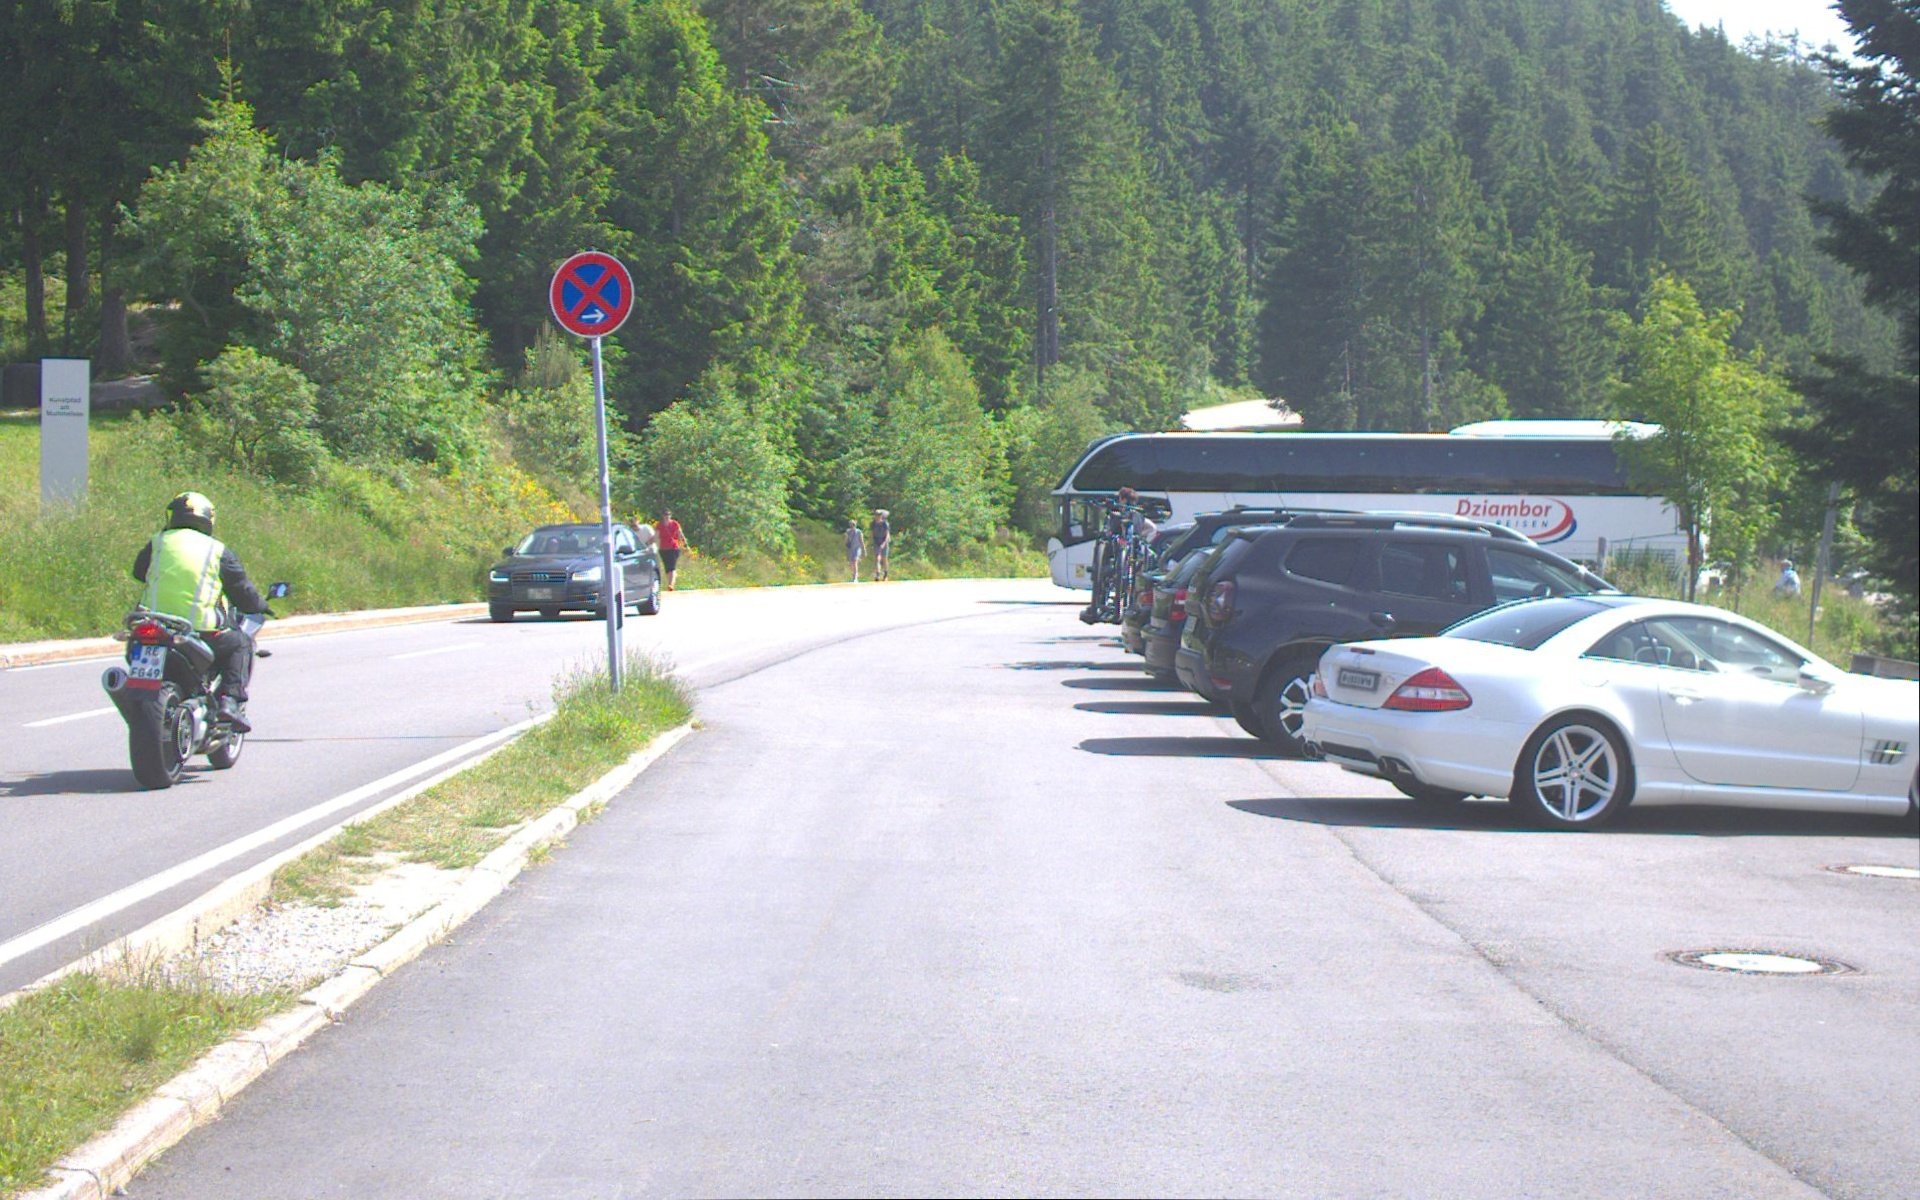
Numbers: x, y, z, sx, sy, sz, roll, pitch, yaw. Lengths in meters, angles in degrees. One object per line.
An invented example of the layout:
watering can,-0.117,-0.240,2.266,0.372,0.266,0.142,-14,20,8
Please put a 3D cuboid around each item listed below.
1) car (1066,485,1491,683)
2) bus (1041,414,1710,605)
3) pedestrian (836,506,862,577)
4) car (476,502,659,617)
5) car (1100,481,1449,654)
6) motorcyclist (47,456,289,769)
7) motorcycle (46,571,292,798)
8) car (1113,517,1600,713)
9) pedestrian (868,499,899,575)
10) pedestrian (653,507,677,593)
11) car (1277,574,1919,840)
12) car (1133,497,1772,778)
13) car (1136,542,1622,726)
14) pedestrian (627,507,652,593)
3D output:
car,3.157,-0.187,34.671,3.986,1.713,1.868,3,3,-2
bus,8.223,-1.814,68.135,12.869,3.565,2.980,0,4,15
pedestrian,-3.003,-1.585,93.378,0.622,1.893,0.655,-2,0,-2
car,-5.979,-0.651,52.808,1.994,1.656,4.000,-1,2,5
car,3.767,-0.415,41.758,3.987,1.808,1.940,3,3,0
motorcyclist,-4.379,0.065,19.100,1.025,1.669,1.293,0,0,0
motorcycle,-4.358,0.439,19.117,0.822,1.173,2.286,-1,0,0
car,3.484,0.112,30.767,3.986,1.448,2.001,3,3,-3
pedestrian,-2.062,-1.692,92.551,0.732,2.007,0.862,-2,0,-2
pedestrian,-6.081,-1.035,70.789,0.394,1.741,0.406,-2,3,-2
car,4.234,0.633,19.901,4.452,1.294,1.583,3,2,-18
car,3.432,0.239,24.412,3.986,1.693,2.001,3,2,-9
car,3.334,0.257,27.805,3.635,1.299,1.641,1,3,-3
pedestrian,-6.620,-1.028,71.042,0.414,1.741,0.457,-2,3,-2
